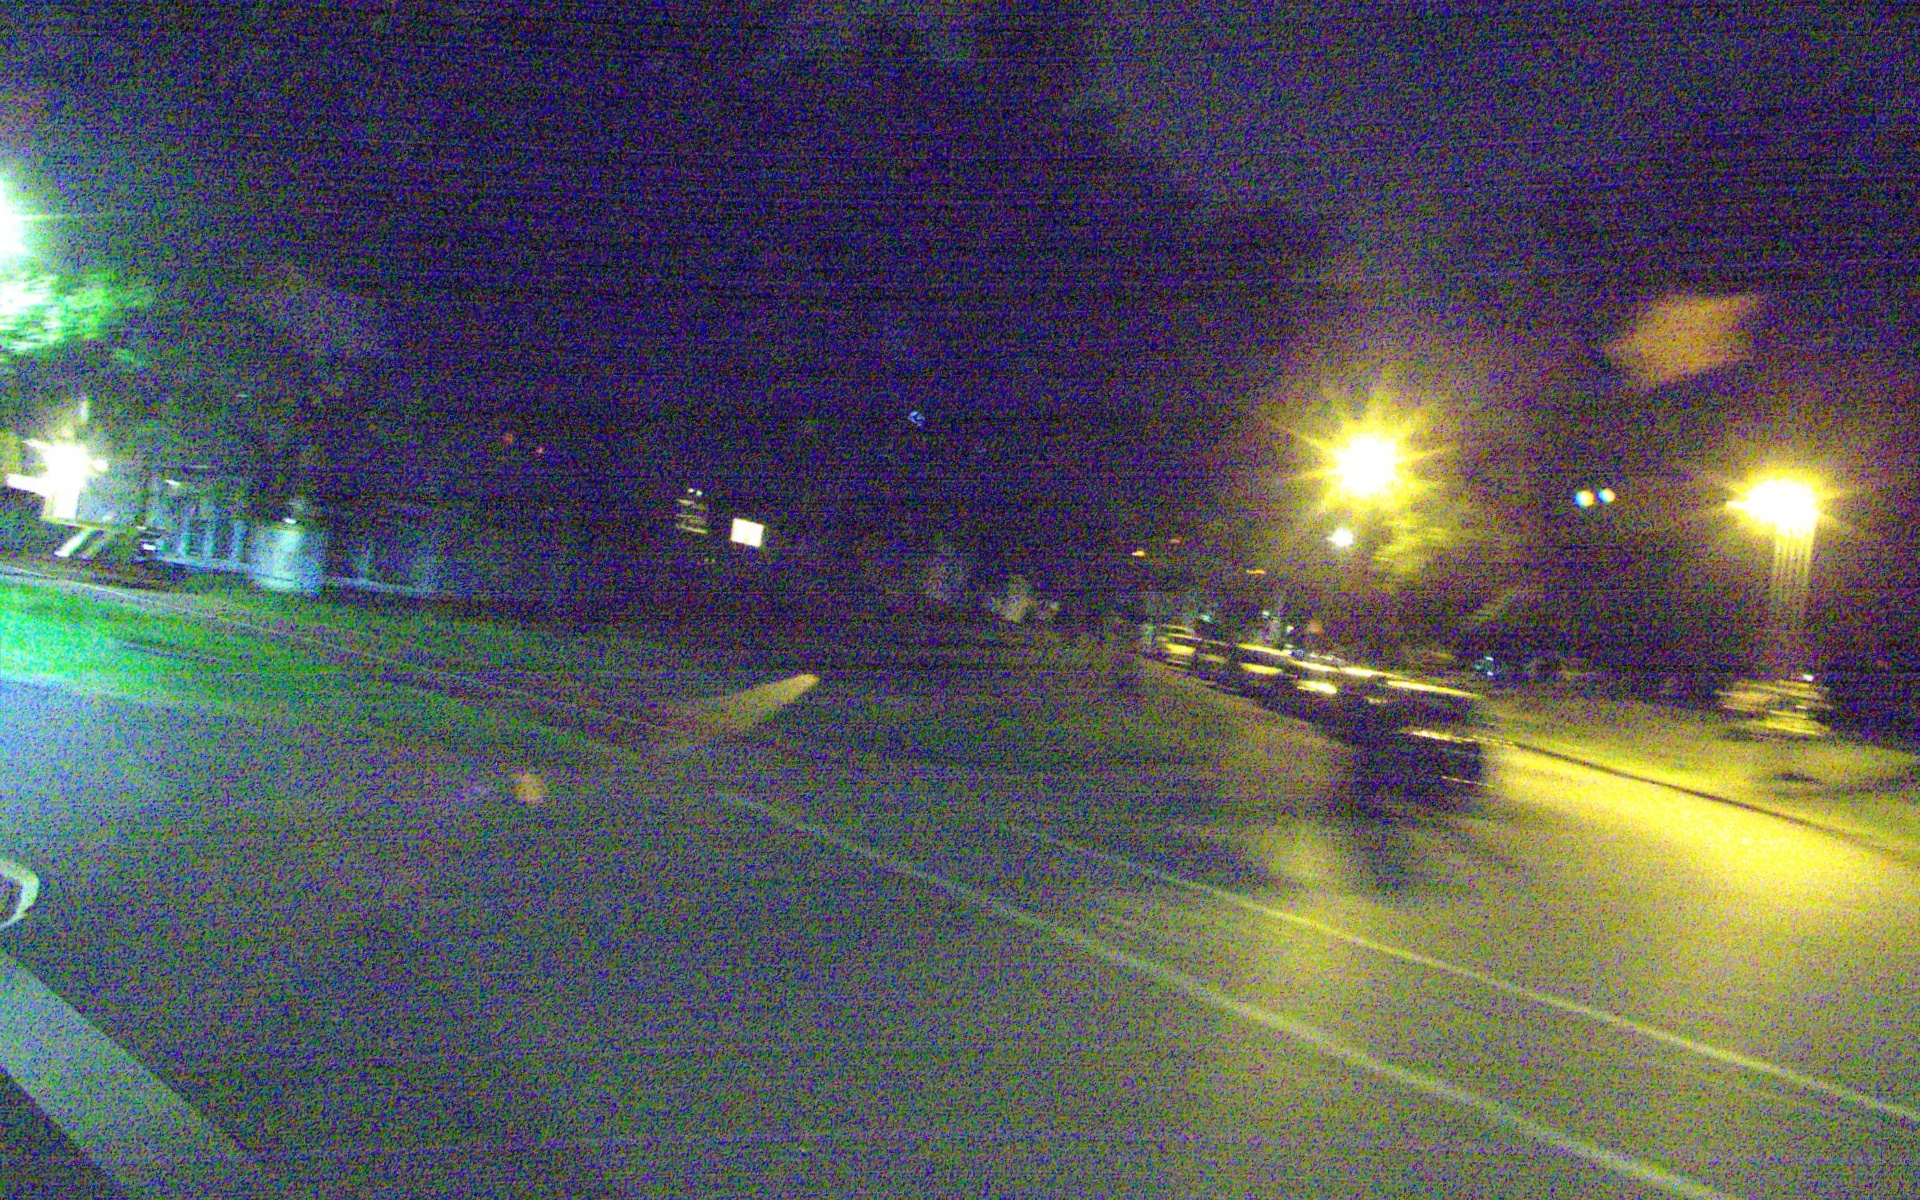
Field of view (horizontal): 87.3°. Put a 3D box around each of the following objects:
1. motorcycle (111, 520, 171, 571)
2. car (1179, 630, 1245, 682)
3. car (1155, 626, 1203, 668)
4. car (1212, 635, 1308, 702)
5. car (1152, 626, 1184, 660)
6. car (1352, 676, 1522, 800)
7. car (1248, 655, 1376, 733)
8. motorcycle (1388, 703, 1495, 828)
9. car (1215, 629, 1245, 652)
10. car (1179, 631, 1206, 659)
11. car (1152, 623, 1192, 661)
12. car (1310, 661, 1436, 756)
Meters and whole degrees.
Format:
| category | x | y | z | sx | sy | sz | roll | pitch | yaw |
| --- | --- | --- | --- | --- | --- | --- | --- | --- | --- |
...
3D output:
| category | x | y | z | sx | sy | sz | roll | pitch | yaw |
| --- | --- | --- | --- | --- | --- | --- | --- | --- | --- |
| motorcycle | -25.279 | -1.690 | 31.113 | 1.064 | 1.342 | 2.681 | 9 | -1 | -34 |
| car | 9.915 | 2.170 | 39.779 | 1.637 | 1.691 | 3.542 | 8 | 0 | 2 |
| car | 10.465 | 2.211 | 48.210 | 1.636 | 1.691 | 3.431 | 8 | 0 | 6 |
| car | 9.568 | 2.140 | 32.410 | 1.730 | 1.691 | 4.329 | 8 | -1 | 2 |
| car | 12.135 | 2.516 | 58.595 | 1.546 | 1.691 | 4.099 | 8 | -1 | 13 |
| car | 7.847 | 2.192 | 16.910 | 1.829 | 1.497 | 3.633 | 8 | -1 | 16 |
| car | 9.325 | 2.438 | 27.077 | 1.730 | 1.492 | 4.711 | 8 | -1 | 2 |
| motorcycle | 6.033 | 2.019 | 12.743 | 0.698 | 1.229 | 2.267 | 8 | 0 | 16 |
| car | 24.081 | 3.593 | 89.737 | 1.513 | 1.691 | 2.870 | 8 | 0 | 35 |
| car | 15.849 | 3.042 | 68.641 | 1.374 | 1.691 | 2.926 | 8 | 0 | 8 |
| car | 11.477 | 2.266 | 54.333 | 1.804 | 1.691 | 4.416 | 8 | -1 | 13 |
| car | 8.867 | 2.256 | 21.921 | 1.582 | 1.567 | 4.035 | 8 | -1 | 11 |
